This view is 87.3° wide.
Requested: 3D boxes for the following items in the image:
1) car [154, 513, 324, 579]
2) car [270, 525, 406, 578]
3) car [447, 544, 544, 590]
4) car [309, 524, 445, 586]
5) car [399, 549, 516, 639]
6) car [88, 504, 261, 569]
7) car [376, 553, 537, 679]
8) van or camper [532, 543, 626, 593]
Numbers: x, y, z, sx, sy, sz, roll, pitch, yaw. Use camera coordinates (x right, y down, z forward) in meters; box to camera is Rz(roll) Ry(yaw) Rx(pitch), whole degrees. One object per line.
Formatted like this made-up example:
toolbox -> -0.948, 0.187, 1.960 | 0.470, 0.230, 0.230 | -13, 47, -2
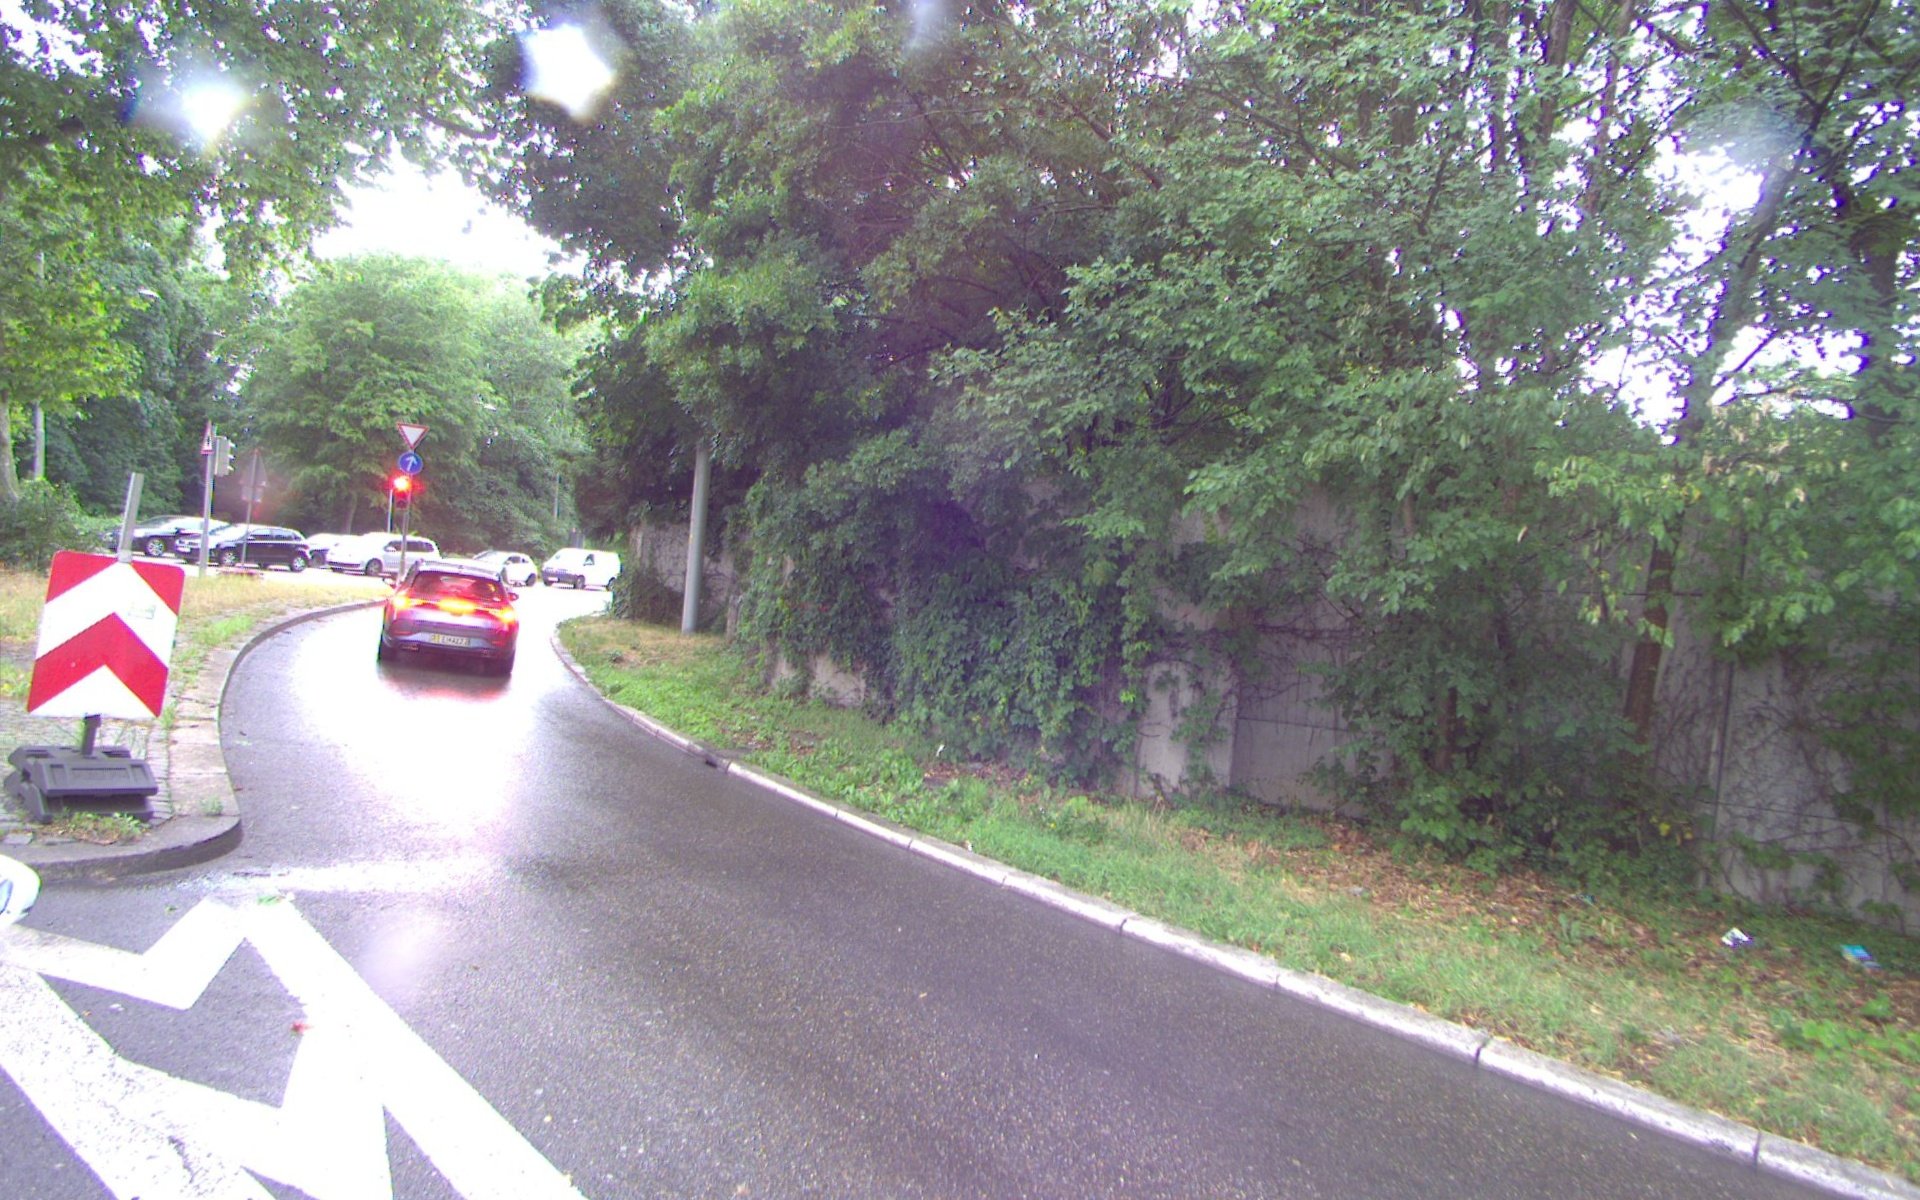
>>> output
car -> -23.316, -1.695, 32.731 | 1.759, 1.477, 4.205 | 7, -2, 16
car -> -24.793, -1.879, 40.303 | 1.795, 1.418, 4.452 | 7, -2, 16
car -> -20.544, -1.428, 44.689 | 1.627, 1.478, 3.869 | 7, -2, 16
car -> -22.088, -1.657, 38.311 | 1.871, 1.699, 4.216 | 7, -2, 16
car -> -10.771, -0.170, 21.862 | 1.837, 1.464, 4.593 | 11, -3, -24
car -> -26.659, -2.112, 34.333 | 1.913, 1.457, 4.218 | 7, -2, 16
car -> -7.702, 0.151, 15.197 | 1.737, 1.418, 4.380 | 10, -3, -30
van or camper -> -19.112, -1.562, 50.752 | 1.870, 1.970, 4.870 | 7, -1, 13
